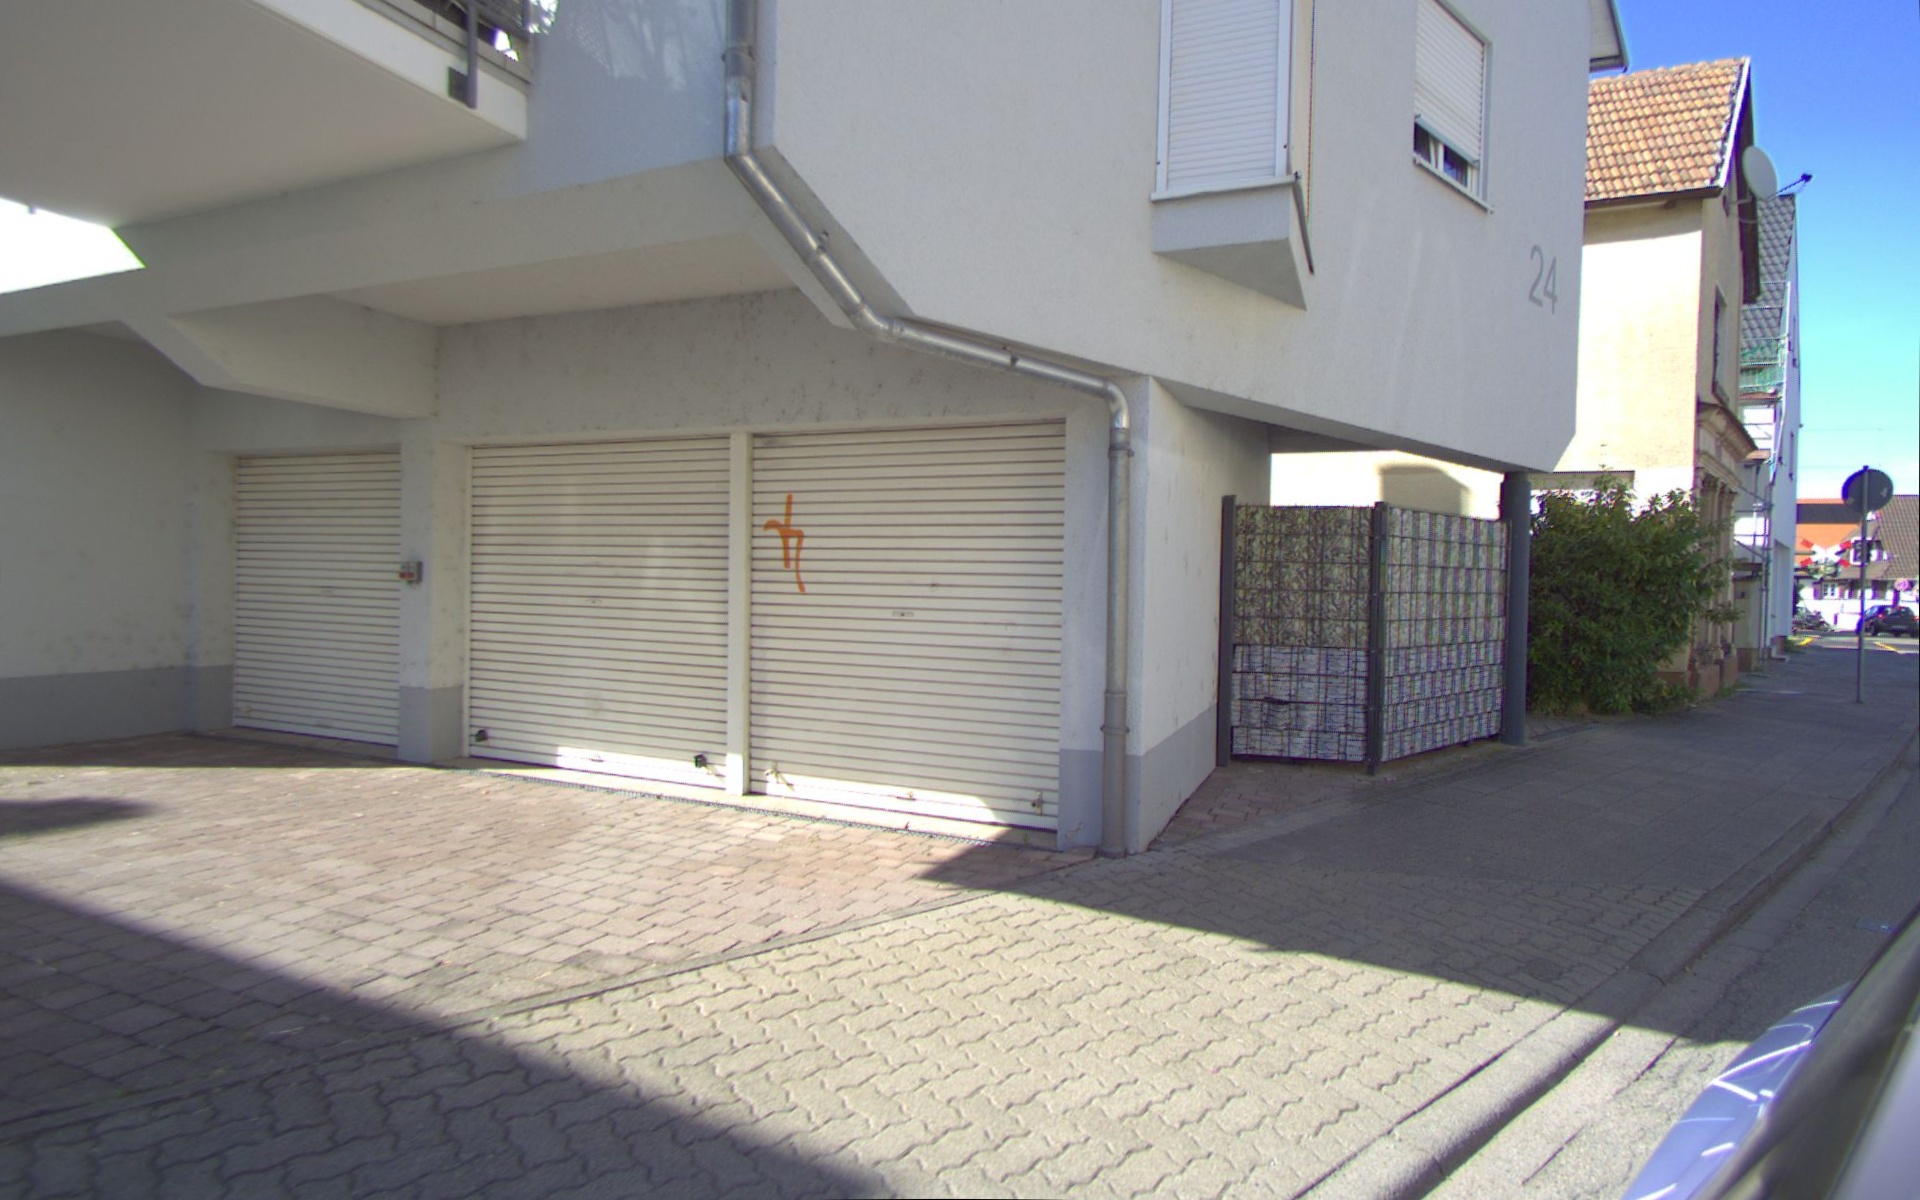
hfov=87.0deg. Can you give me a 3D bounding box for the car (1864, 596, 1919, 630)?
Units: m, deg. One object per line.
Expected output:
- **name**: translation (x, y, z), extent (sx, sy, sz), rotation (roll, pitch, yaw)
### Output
- **car**: translation (44.382, 0.609, 47.851), extent (1.533, 1.477, 3.679), rotation (2, 1, 28)
